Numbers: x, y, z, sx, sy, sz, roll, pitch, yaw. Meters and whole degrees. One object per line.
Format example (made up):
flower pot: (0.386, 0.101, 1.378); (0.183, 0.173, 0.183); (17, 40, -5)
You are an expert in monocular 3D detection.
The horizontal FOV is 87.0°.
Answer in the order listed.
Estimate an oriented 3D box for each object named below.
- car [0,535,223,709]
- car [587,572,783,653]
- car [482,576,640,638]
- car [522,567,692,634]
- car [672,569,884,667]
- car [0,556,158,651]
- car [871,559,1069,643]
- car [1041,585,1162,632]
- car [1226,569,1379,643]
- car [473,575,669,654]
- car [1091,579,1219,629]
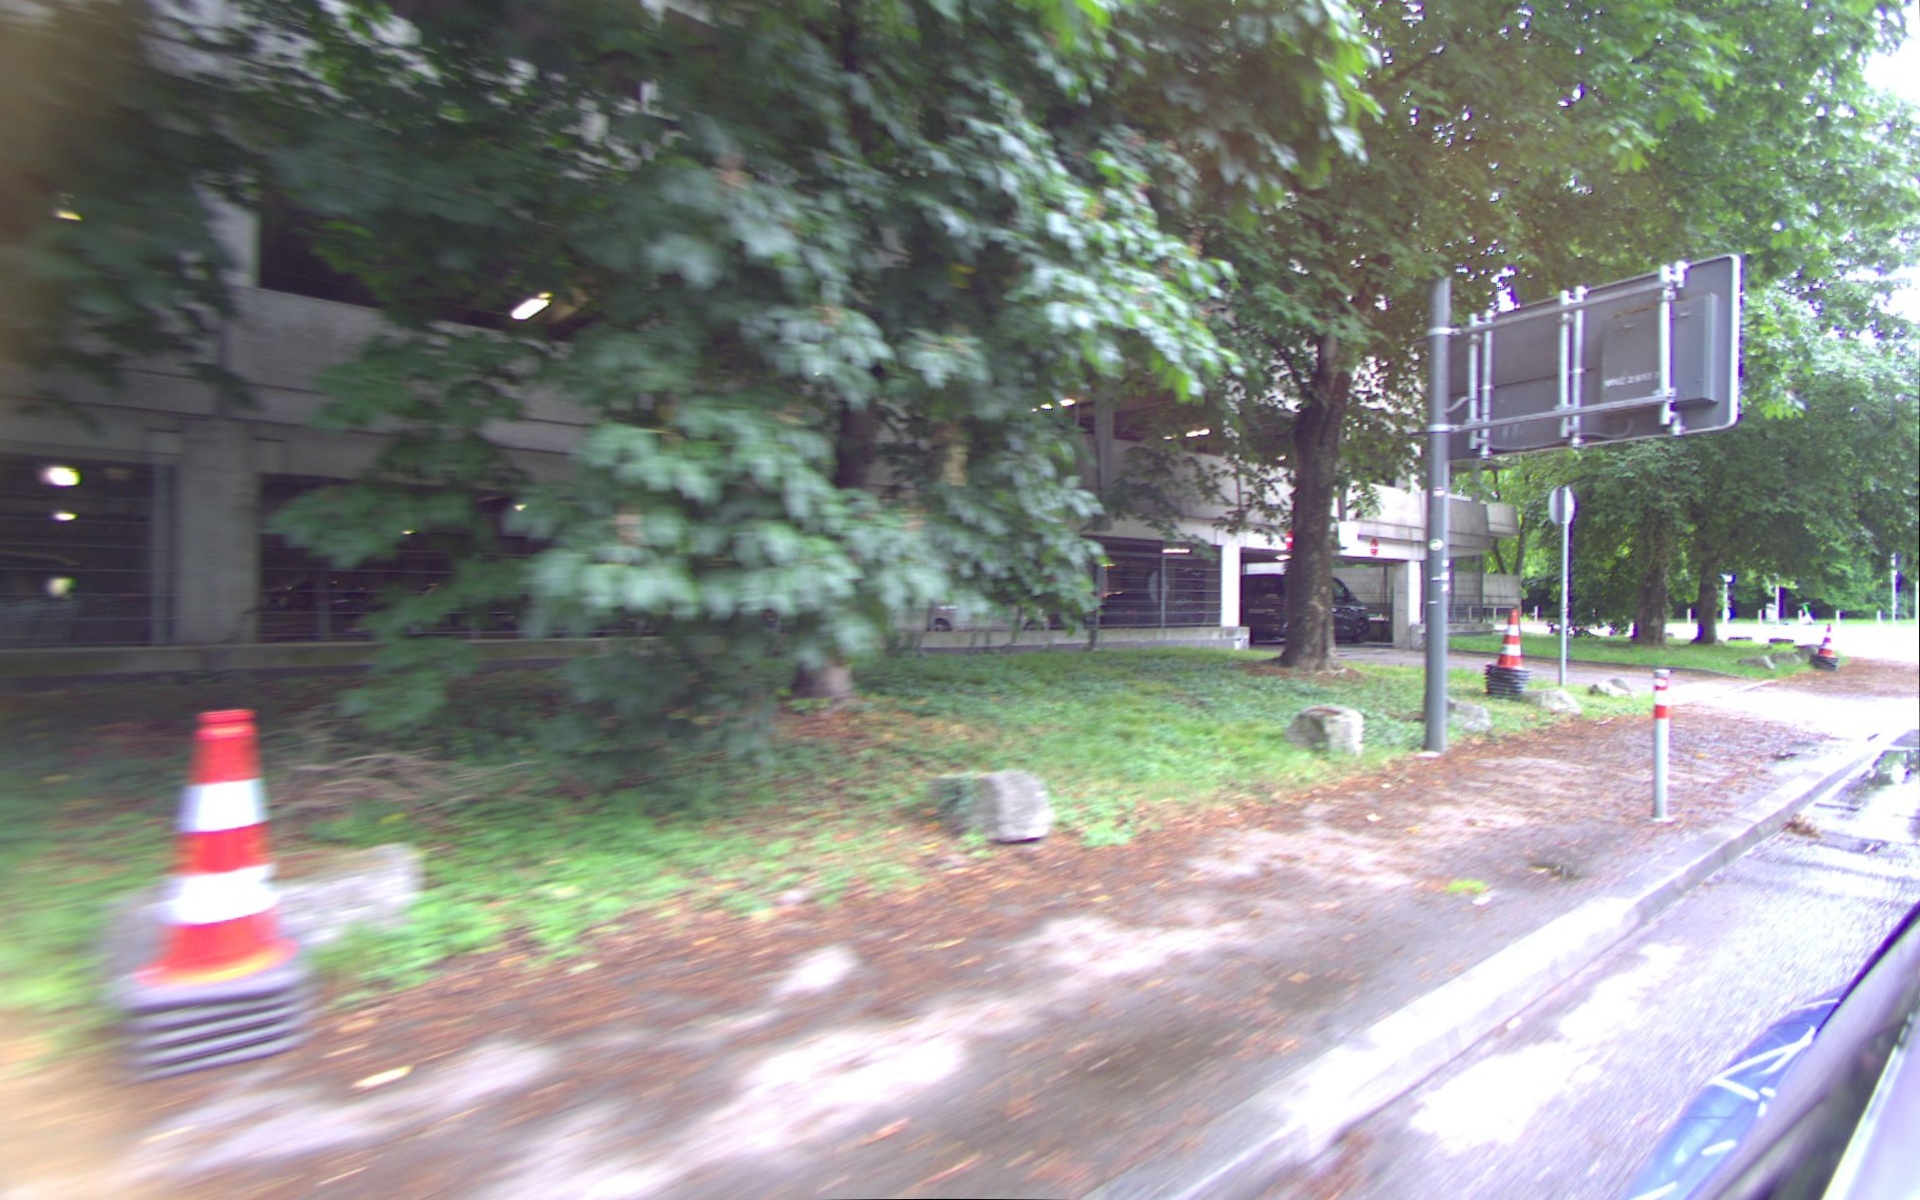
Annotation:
car: (-11.797, 0.264, 12.743); (3.930, 2.039, 1.997); (-1, 0, -40)
car: (-5.791, 0.213, 21.536); (3.640, 1.565, 1.718); (-1, 0, -43)
car: (-10.816, 0.157, 27.536); (3.638, 1.565, 1.719); (-1, 0, -42)
car: (-8.802, -0.024, 25.397); (3.640, 1.565, 1.718); (-1, 0, -43)
car: (-3.478, 0.280, 19.729); (3.791, 1.730, 1.588); (-1, 0, -42)
car: (-16.773, 0.062, 18.136); (3.640, 1.627, 1.718); (-1, 0, -43)
car: (0.323, -0.013, 22.886); (4.587, 1.730, 1.588); (-1, 0, -42)
car: (4.854, 0.264, 34.440); (3.928, 1.471, 1.876); (-1, 0, -38)
car: (9.408, 0.146, 27.633); (4.654, 1.858, 1.922); (0, -1, -42)
car: (-8.487, 0.266, 22.246); (3.640, 1.565, 1.718); (-1, 0, -43)
car: (6.209, 0.102, 32.031); (3.928, 1.471, 1.876); (-1, 0, -38)
